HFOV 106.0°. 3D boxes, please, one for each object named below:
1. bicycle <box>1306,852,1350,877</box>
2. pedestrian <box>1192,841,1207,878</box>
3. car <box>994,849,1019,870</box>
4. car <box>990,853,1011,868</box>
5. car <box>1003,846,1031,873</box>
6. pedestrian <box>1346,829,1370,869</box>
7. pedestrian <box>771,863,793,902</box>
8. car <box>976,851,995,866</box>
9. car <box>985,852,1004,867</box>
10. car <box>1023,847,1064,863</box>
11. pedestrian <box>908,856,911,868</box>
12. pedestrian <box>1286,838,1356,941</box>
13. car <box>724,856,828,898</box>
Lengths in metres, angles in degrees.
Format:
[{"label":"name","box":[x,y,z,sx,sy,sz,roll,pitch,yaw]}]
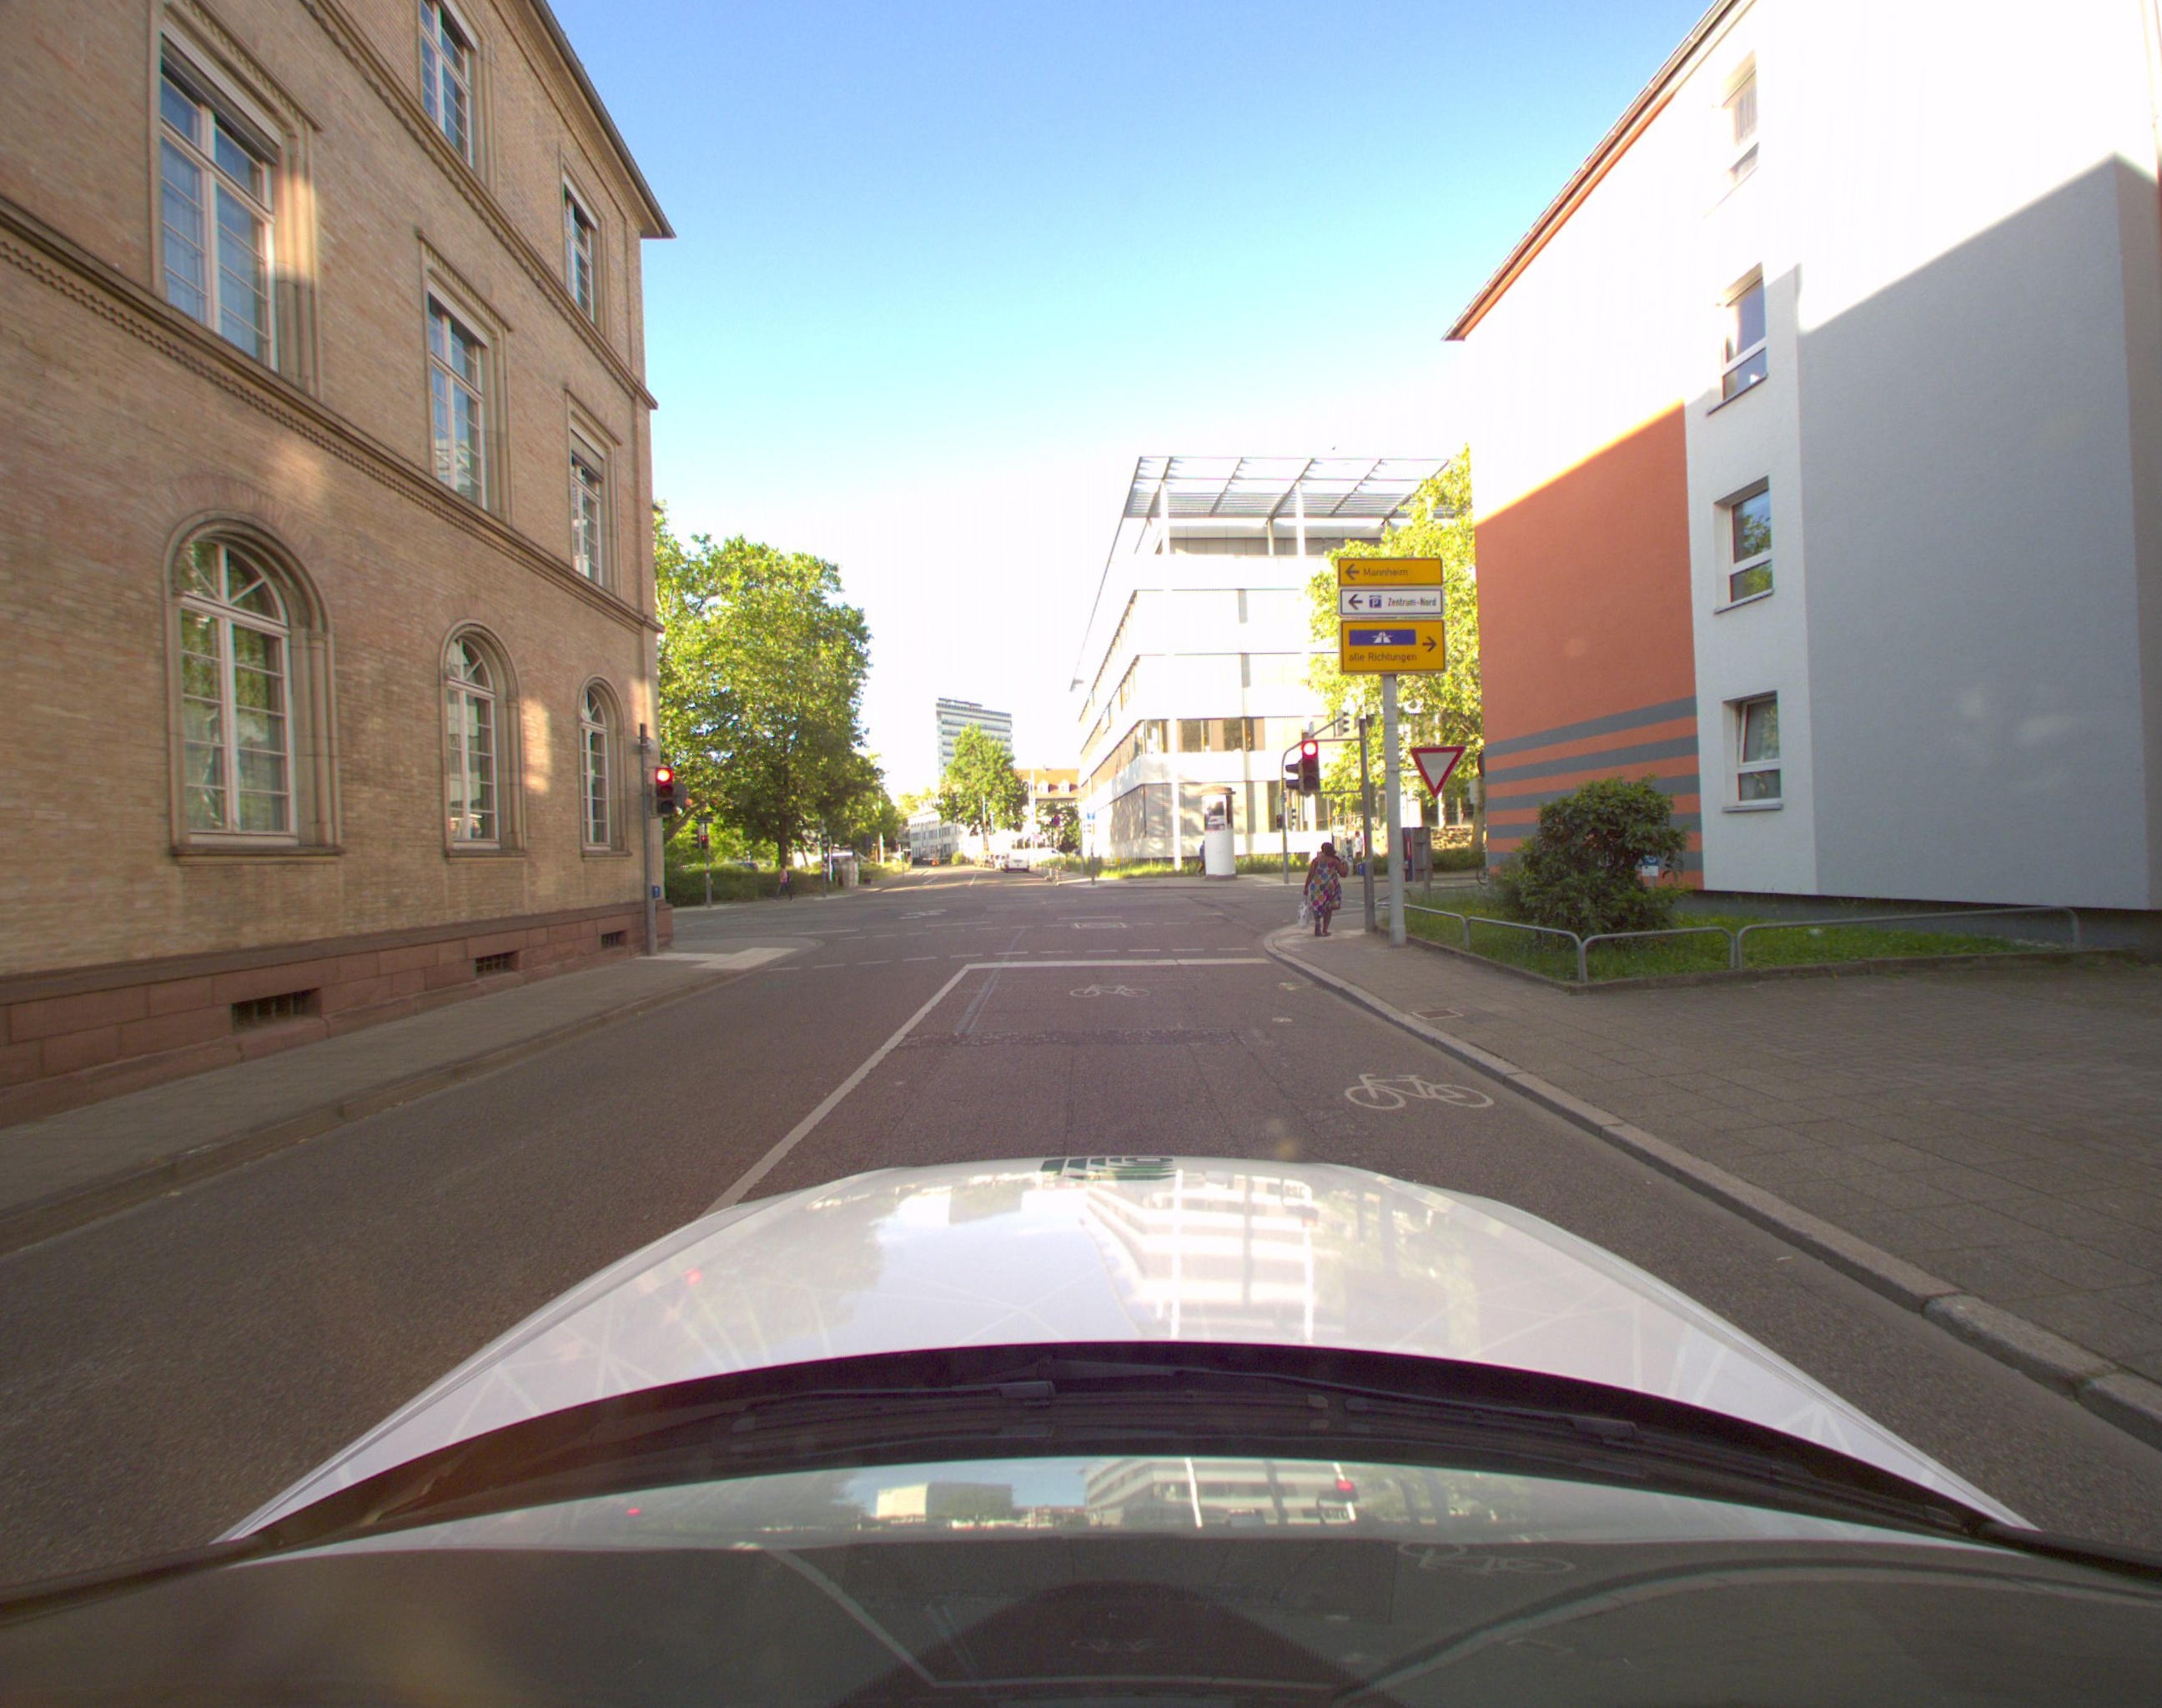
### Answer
[{"label":"bicycle","box":[10.902,0.459,35.996,0.467,1.049,1.893,-2,0,-40]},{"label":"pedestrian","box":[5.684,0.248,38.931,0.649,1.736,0.814,-2,0,8]},{"label":"car","box":[-7.068,0.513,76.766,1.947,1.795,4.223,-2,0,-11]},{"label":"car","box":[-8.084,0.650,81.644,1.705,1.424,4.221,-2,0,-11]},{"label":"car","box":[-5.127,0.420,64.937,2.065,1.963,4.228,-2,0,-6]},{"label":"pedestrian","box":[13.099,-0.220,38.491,0.538,1.831,1.035,-2,0,-16]},{"label":"pedestrian","box":[-12.635,1.184,34.405,0.716,1.599,0.611,-2,0,-28]},{"label":"car","box":[-11.303,0.533,96.127,2.100,1.658,4.461,-2,0,-9]},{"label":"car","box":[-9.195,0.553,86.245,1.704,1.464,4.225,-2,0,-9]},{"label":"car","box":[-4.713,0.130,103.115,4.889,1.872,1.990,-1,-1,-15]},{"label":"pedestrian","box":[-20.907,0.971,99.264,0.380,1.534,0.444,-2,0,-10]},{"label":"pedestrian","box":[3.982,0.572,13.462,0.946,1.573,0.754,-5,0,18]},{"label":"car","box":[-14.400,1.076,38.640,4.219,1.777,1.901,-2,0,-7]}]
